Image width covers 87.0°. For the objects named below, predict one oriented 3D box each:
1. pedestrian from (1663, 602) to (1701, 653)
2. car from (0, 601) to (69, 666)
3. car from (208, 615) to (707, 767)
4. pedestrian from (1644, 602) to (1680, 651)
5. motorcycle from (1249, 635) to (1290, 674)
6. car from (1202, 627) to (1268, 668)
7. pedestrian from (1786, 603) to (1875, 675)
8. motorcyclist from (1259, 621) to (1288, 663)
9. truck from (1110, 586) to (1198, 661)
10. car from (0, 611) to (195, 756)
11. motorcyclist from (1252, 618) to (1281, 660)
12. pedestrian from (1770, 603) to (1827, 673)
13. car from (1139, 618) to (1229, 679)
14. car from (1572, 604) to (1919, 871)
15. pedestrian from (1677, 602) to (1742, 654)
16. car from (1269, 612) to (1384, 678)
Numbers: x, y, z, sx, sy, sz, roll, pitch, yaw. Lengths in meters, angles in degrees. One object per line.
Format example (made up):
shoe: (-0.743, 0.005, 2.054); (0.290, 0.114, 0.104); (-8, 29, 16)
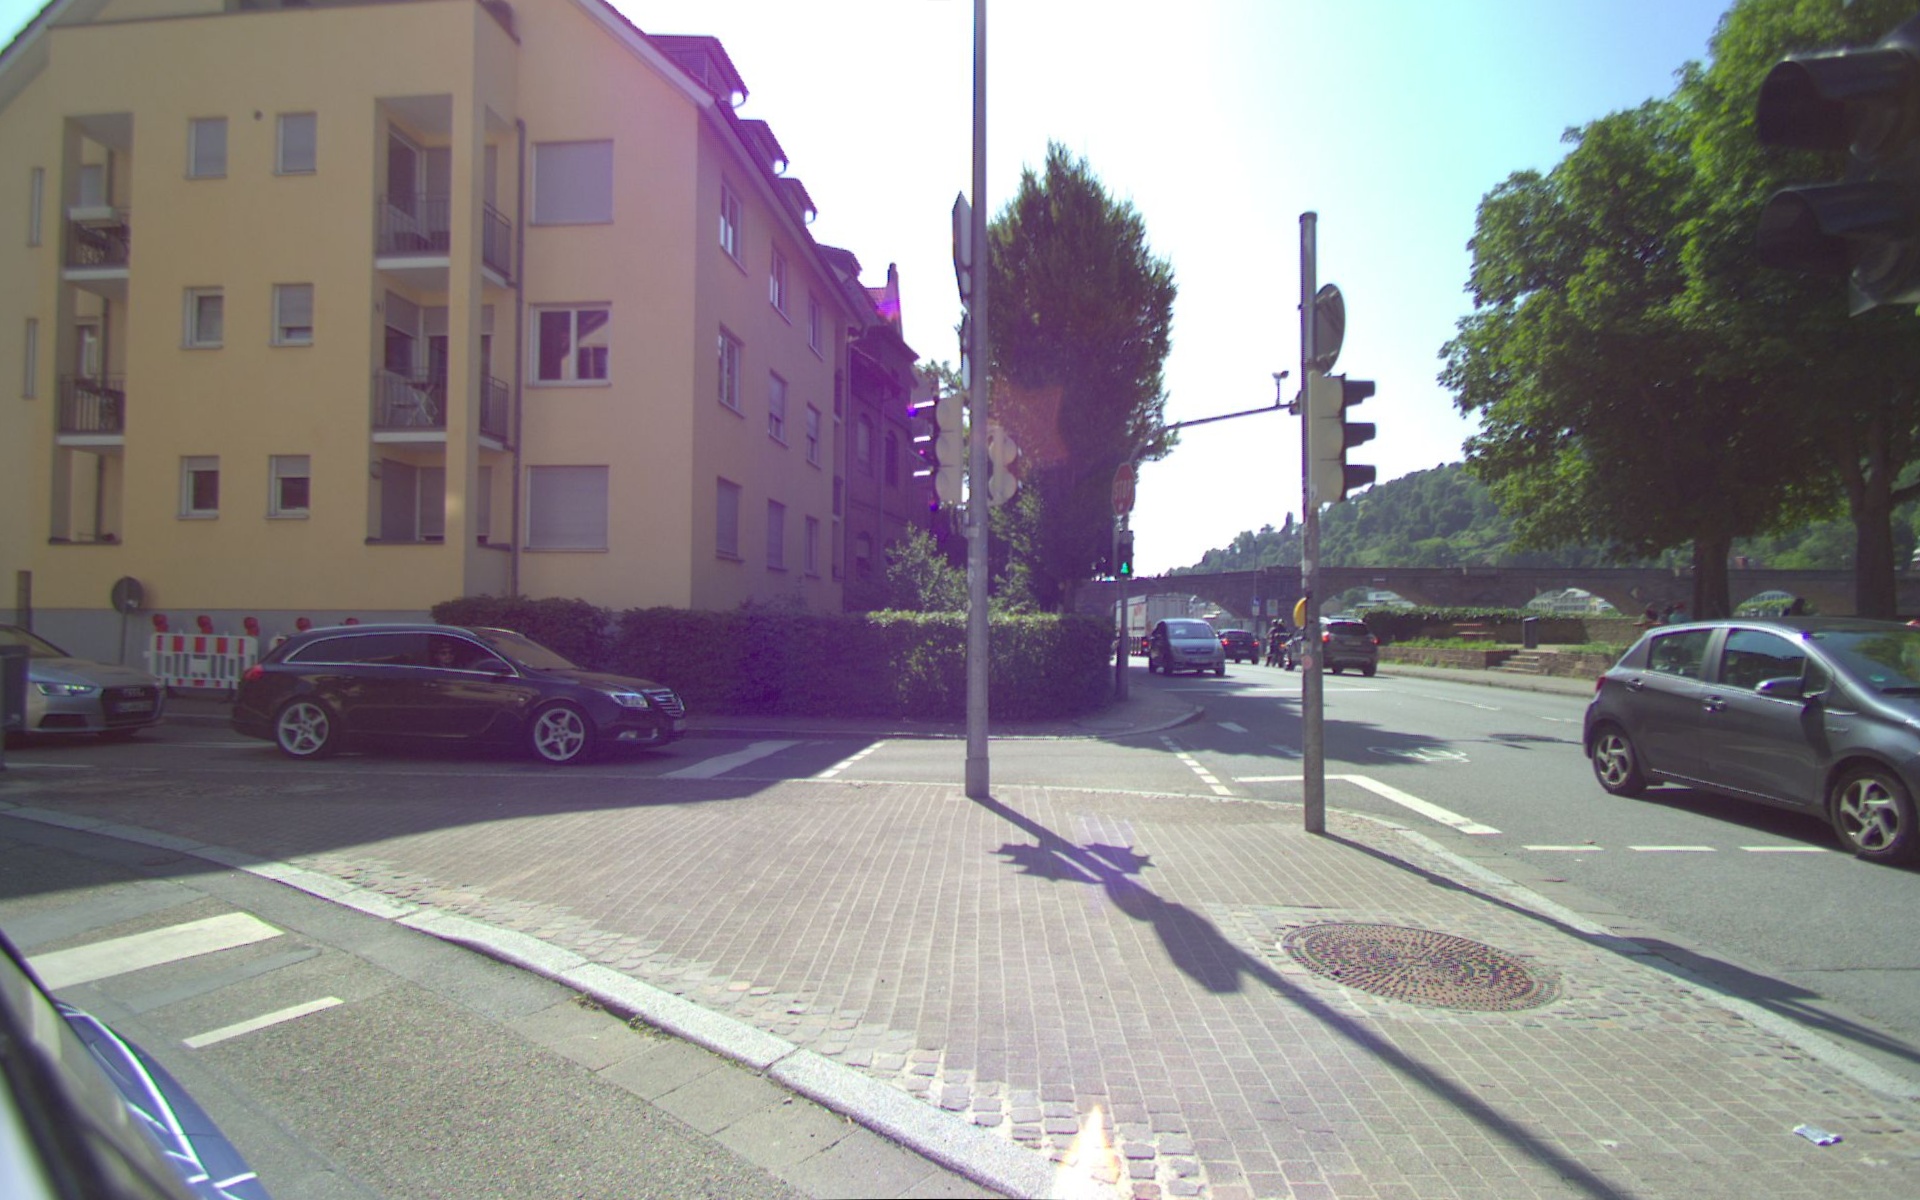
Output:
pedestrian: (18.438, 0.696, 25.842); (0.624, 1.280, 0.467); (1, -2, 7)
car: (-24.143, 0.808, 24.287); (1.829, 1.556, 3.994); (0, -1, 5)
car: (-5.351, 0.968, 11.177); (4.661, 1.473, 1.718); (1, -4, 2)
pedestrian: (18.524, 0.696, 26.724); (0.624, 1.280, 0.467); (1, -2, 7)
motorcycle: (11.446, 1.993, 37.553); (0.753, 1.387, 2.471); (1, -2, 0)
car: (11.539, 1.975, 42.720); (1.974, 1.608, 3.994); (0, -2, 4)
pedestrian: (18.447, 0.826, 21.464); (1.368, 1.490, 0.467); (1, -2, 7)
motorcyclist: (11.454, 1.528, 37.035); (0.807, 1.504, 0.773); (1, -2, 0)
truck: (11.984, 1.493, 64.023); (3.169, 4.246, 12.762); (1, -2, 0)
car: (-11.608, 0.875, 11.592); (4.324, 1.504, 1.876); (1, -2, 2)
motorcyclist: (11.464, 1.454, 37.826); (0.807, 1.506, 0.874); (0, 1, 0)
pedestrian: (18.249, 0.817, 22.036); (0.795, 1.504, 0.467); (1, -2, 7)
car: (6.374, 1.352, 29.169); (1.669, 1.623, 3.739); (-1, -1, -1)
car: (6.303, 0.818, 7.071); (1.704, 1.510, 3.879); (0, -1, 1)
pedestrian: (18.697, 0.698, 25.262); (1.209, 1.280, 0.467); (1, -2, 7)
car: (11.197, 1.321, 31.252); (1.818, 1.766, 4.409); (3, -1, 0)
